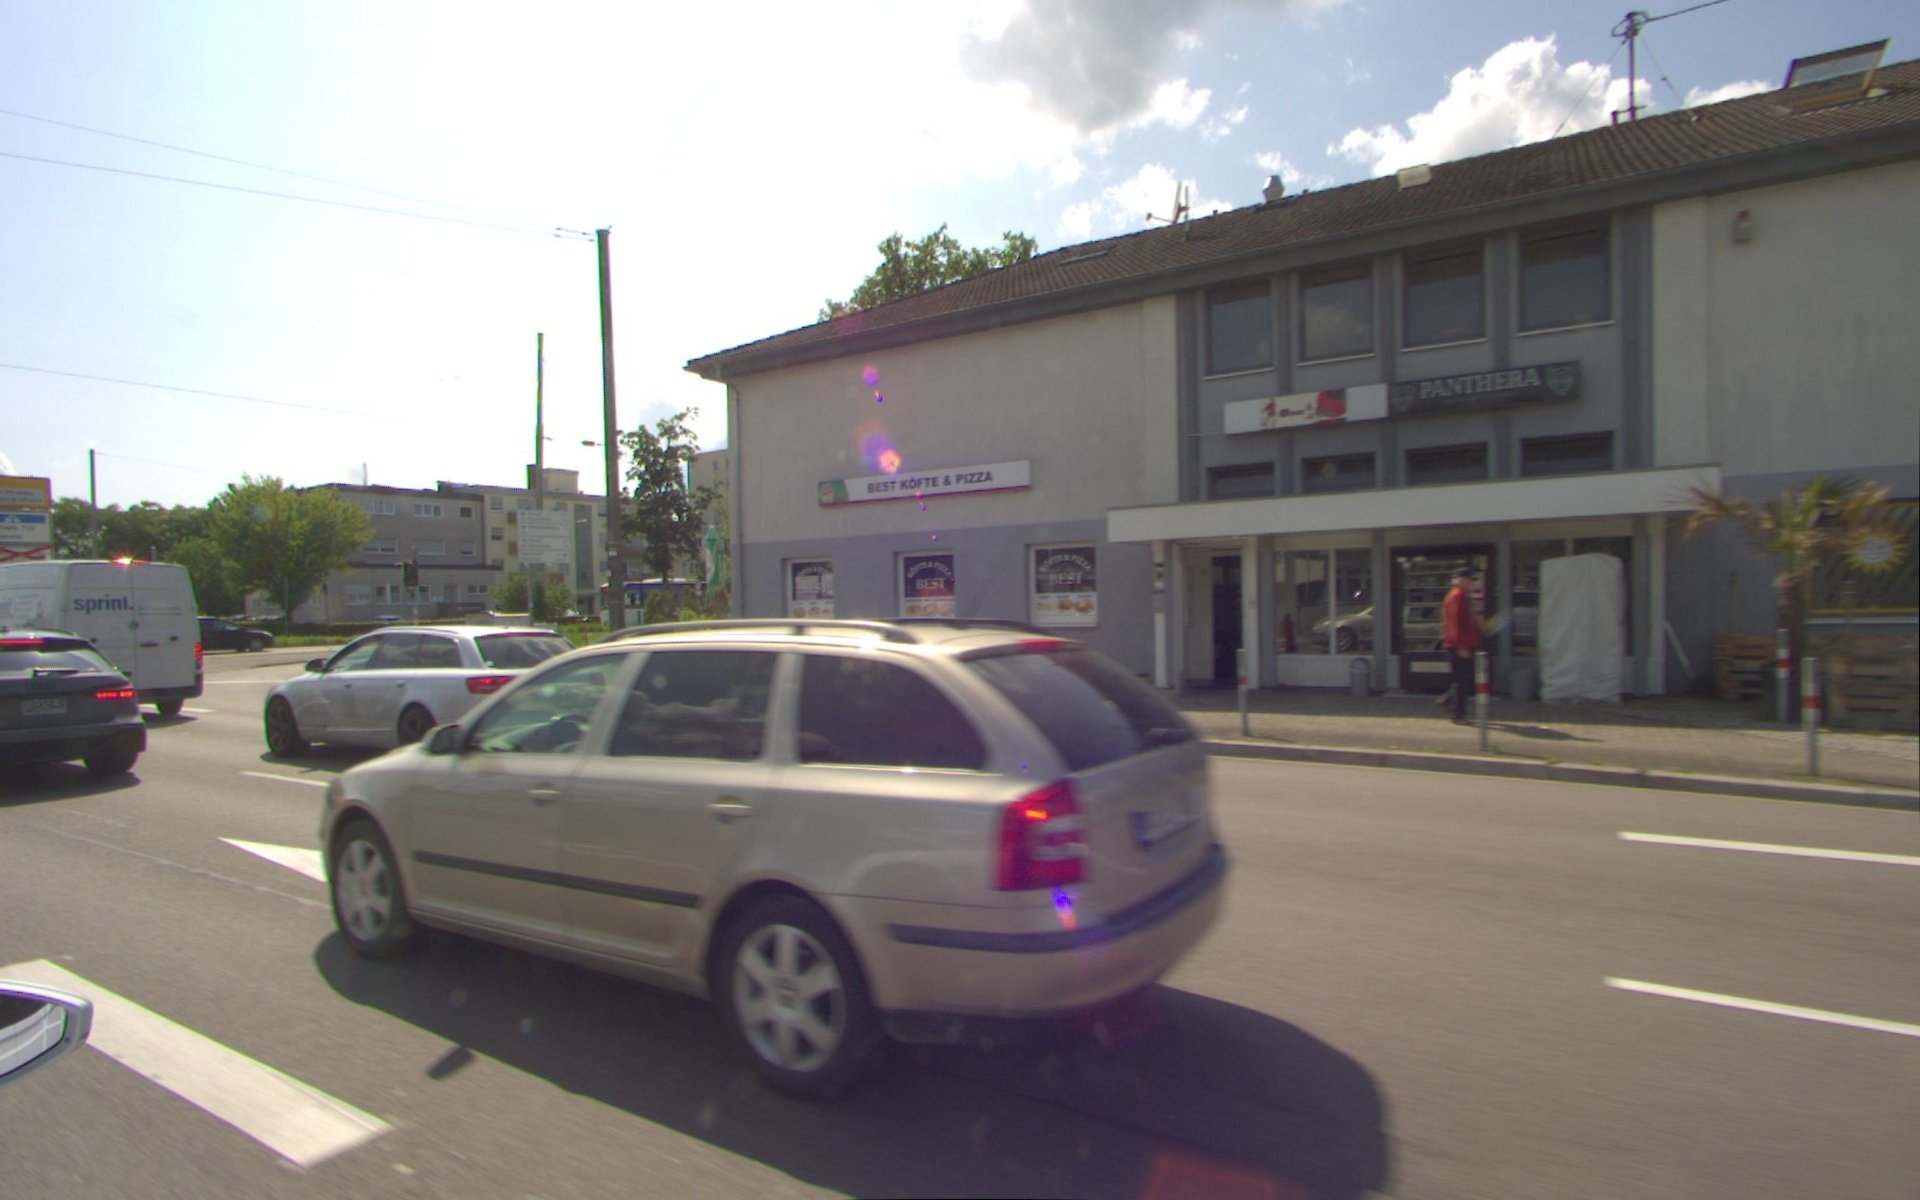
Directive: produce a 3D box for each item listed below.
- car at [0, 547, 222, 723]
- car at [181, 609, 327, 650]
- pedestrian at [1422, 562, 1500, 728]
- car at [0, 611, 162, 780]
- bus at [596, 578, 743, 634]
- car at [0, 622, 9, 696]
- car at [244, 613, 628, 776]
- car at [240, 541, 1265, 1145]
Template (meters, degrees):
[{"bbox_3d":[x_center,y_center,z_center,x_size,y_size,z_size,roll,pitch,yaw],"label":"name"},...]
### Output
[{"bbox_3d":[-14.845,0.560,16.930,5.155,2.591,2.037,-1,0,32],"label":"car"},{"bbox_3d":[-29.633,1.203,42.184,1.974,1.569,4.658,-1,0,37],"label":"car"},{"bbox_3d":[5.718,0.486,11.417,0.693,1.807,0.719,0,3,34],"label":"pedestrian"},{"bbox_3d":[-10.198,0.871,10.112,4.759,1.467,1.884,-1,-2,32],"label":"car"},{"bbox_3d":[-19.821,0.430,69.235,2.777,3.638,10.309,-1,-1,35],"label":"bus"},{"bbox_3d":[-21.212,1.192,20.439,4.319,1.467,1.741,-1,-2,34],"label":"car"},{"bbox_3d":[-5.971,0.926,11.263,4.471,1.512,1.851,-1,-1,32],"label":"car"},{"bbox_3d":[-1.170,0.661,4.466,4.563,1.512,1.736,-1,-1,32],"label":"car"}]
